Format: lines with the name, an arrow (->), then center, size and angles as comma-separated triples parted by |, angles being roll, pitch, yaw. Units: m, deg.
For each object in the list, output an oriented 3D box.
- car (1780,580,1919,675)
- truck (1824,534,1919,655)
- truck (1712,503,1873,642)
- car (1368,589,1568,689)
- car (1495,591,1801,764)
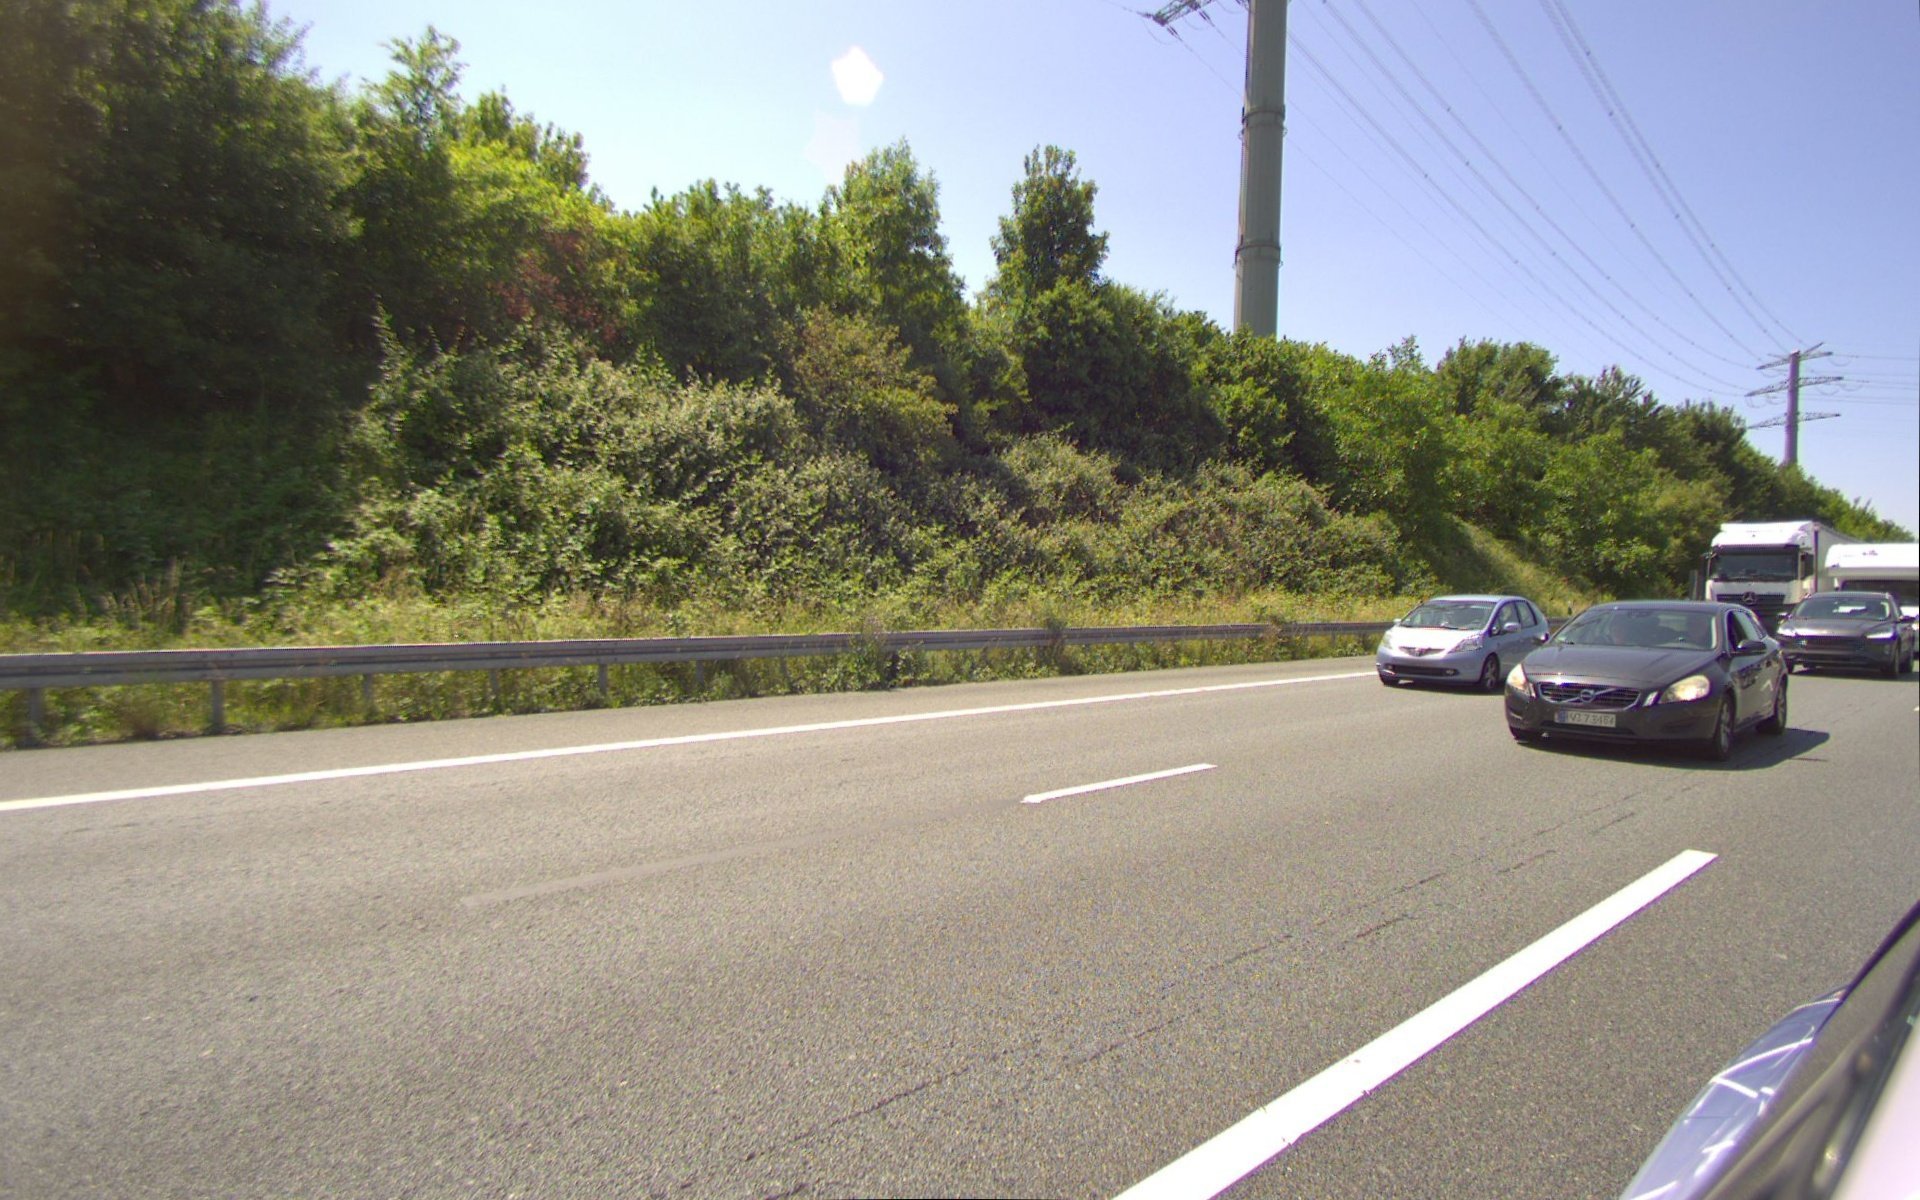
car -> 18.260, 0.487, 20.590 | 4.310, 1.724, 1.889 | 0, 0, -43
truck -> 27.525, -0.171, 29.204 | 9.724, 3.053, 2.512 | 0, 0, -41
truck -> 29.405, -0.869, 35.470 | 11.460, 4.204, 2.653 | 0, 0, -42
car -> 8.421, 0.559, 16.659 | 3.669, 1.455, 1.798 | 0, 0, -43
car -> 7.324, 0.635, 10.602 | 4.160, 1.455, 1.798 | 0, 0, -43
